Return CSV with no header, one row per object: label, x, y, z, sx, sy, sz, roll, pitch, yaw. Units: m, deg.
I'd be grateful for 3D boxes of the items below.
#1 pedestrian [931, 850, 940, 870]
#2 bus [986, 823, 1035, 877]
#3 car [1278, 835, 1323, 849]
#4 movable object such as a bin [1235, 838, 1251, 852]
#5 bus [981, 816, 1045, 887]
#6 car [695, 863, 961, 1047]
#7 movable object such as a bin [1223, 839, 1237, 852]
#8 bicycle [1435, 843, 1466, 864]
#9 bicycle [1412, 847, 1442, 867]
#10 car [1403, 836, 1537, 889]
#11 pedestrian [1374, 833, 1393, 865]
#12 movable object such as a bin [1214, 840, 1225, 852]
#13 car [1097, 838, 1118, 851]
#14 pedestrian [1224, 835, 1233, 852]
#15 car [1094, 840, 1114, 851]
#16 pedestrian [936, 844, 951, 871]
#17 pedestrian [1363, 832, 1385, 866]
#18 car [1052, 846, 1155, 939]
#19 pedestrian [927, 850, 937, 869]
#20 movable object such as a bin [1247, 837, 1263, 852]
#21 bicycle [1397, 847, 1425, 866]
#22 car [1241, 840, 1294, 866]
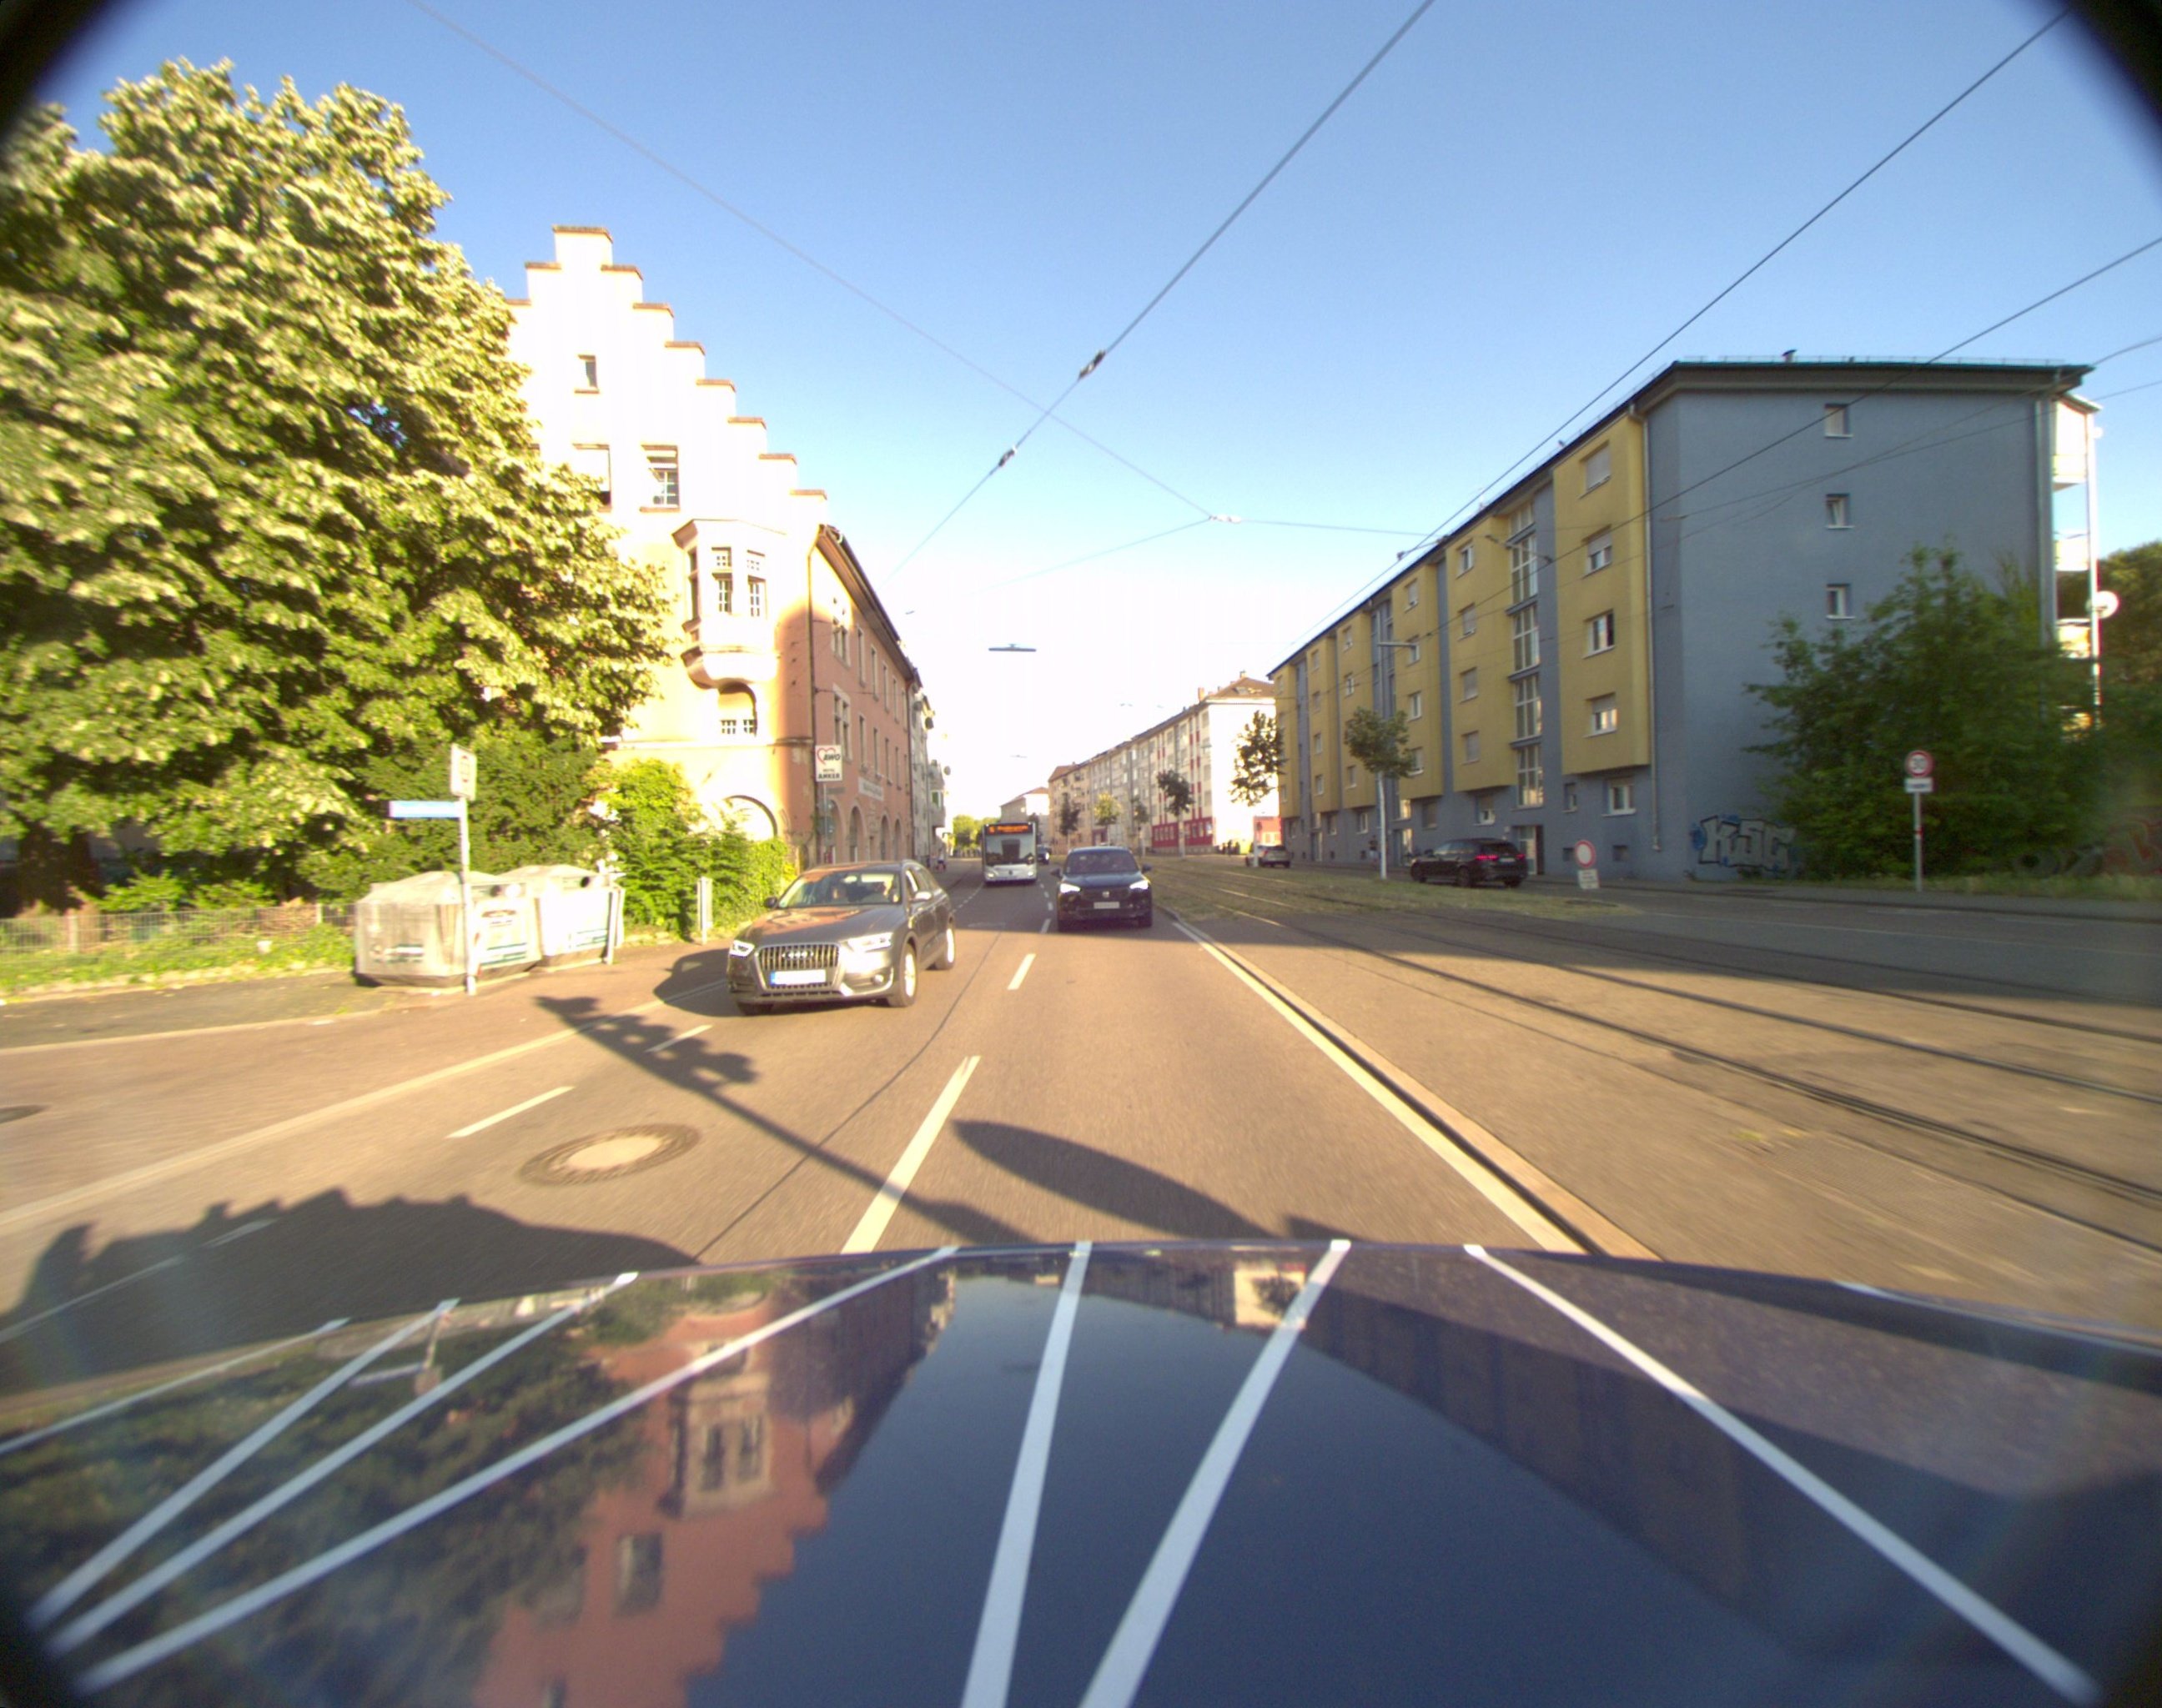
pedestrian,-10.001,0.397,52.263,0.516,1.337,0.608,-1,2,-9
bus,-4.724,-0.321,50.091,2.713,3.060,10.592,-3,1,-6
car,21.571,-1.175,74.616,3.874,1.286,1.700,-2,1,-9
movable object such as a bin,16.396,-0.918,77.146,1.221,1.408,1.137,-2,2,-10
bus,-3.615,-0.186,39.543,2.733,3.060,10.592,-3,1,-6
car,-2.708,0.984,9.211,1.771,1.578,4.067,-3,1,0
movable object such as a bin,15.394,-0.923,78.557,1.162,1.279,0.805,-2,2,-10
bicycle,17.560,-0.015,36.169,0.428,0.954,1.911,-2,1,-4
bicycle,17.329,0.135,38.097,0.428,0.920,1.911,-5,2,-4
car,13.447,0.262,26.640,1.924,1.652,4.706,-1,0,-6
pedestrian,16.626,-0.281,41.770,0.618,1.685,0.706,-6,2,-6
movable object such as a bin,14.304,-0.823,78.335,0.869,1.219,0.805,-2,2,-10
car,3.960,-1.388,114.297,1.873,1.819,4.416,-2,1,-13
pedestrian,14.295,-1.009,73.598,0.615,1.680,0.791,-3,1,-11
car,3.092,-1.199,103.016,1.799,1.461,4.790,0,2,-9
pedestrian,-9.307,0.243,51.470,0.832,1.761,0.995,-1,1,-6
pedestrian,16.002,-0.263,41.496,0.594,1.763,0.885,-6,2,-6
car,0.345,0.686,16.085,1.788,1.615,4.215,-4,1,-2
pedestrian,-10.121,0.389,51.580,0.589,1.244,0.584,-1,1,-6
movable object such as a bin,17.736,-0.974,77.404,1.221,1.408,1.107,-2,2,-10
bicycle,17.079,0.118,39.352,0.428,0.920,1.911,-5,2,-4
car,11.403,-0.094,46.730,1.703,1.451,4.312,0,1,-8
